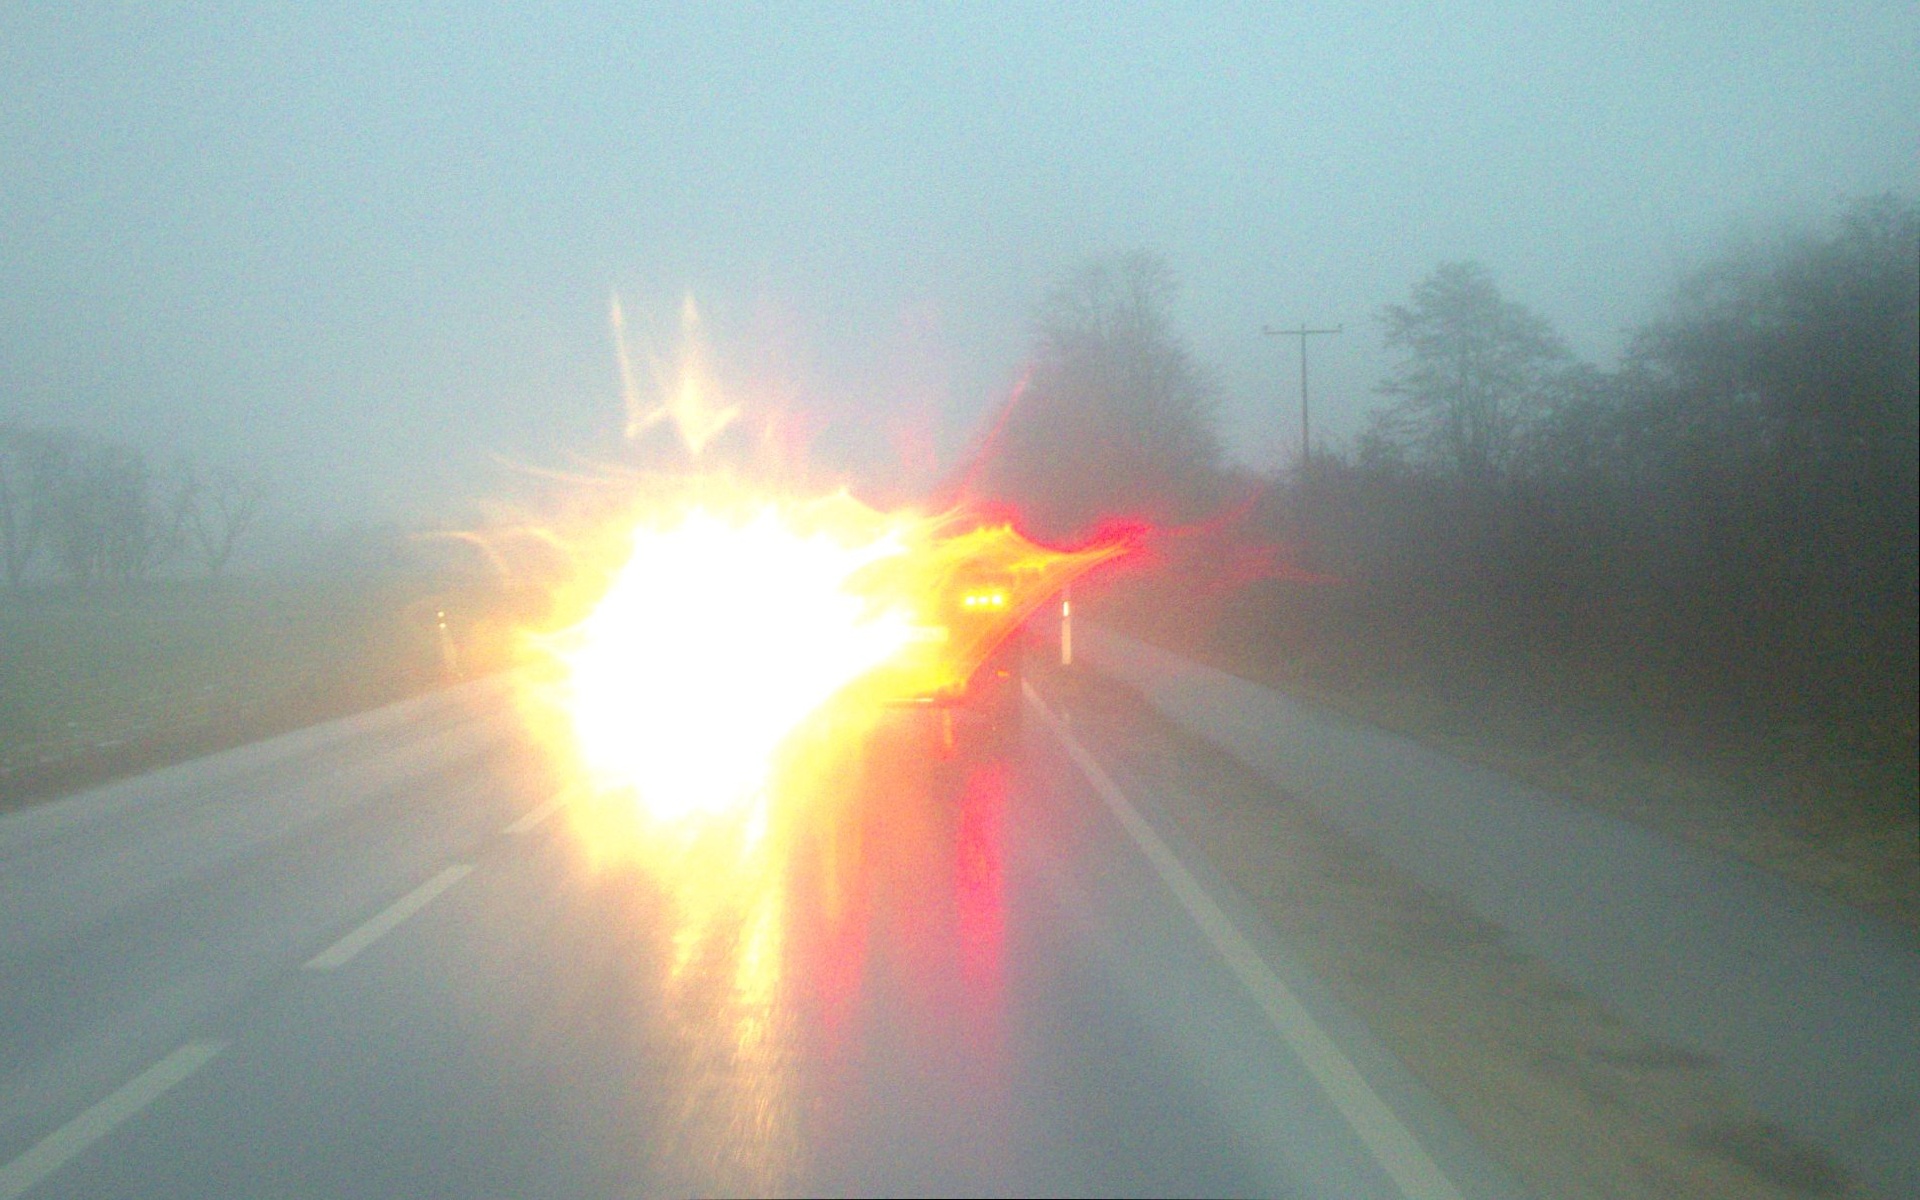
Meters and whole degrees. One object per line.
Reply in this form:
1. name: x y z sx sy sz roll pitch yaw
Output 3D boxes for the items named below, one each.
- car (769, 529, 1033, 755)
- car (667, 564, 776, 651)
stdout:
1. car: -0.489 0.338 30.129 2.120 1.814 4.980 0 0 0
2. car: -4.508 0.117 65.412 1.822 1.556 3.656 -1 1 -1
